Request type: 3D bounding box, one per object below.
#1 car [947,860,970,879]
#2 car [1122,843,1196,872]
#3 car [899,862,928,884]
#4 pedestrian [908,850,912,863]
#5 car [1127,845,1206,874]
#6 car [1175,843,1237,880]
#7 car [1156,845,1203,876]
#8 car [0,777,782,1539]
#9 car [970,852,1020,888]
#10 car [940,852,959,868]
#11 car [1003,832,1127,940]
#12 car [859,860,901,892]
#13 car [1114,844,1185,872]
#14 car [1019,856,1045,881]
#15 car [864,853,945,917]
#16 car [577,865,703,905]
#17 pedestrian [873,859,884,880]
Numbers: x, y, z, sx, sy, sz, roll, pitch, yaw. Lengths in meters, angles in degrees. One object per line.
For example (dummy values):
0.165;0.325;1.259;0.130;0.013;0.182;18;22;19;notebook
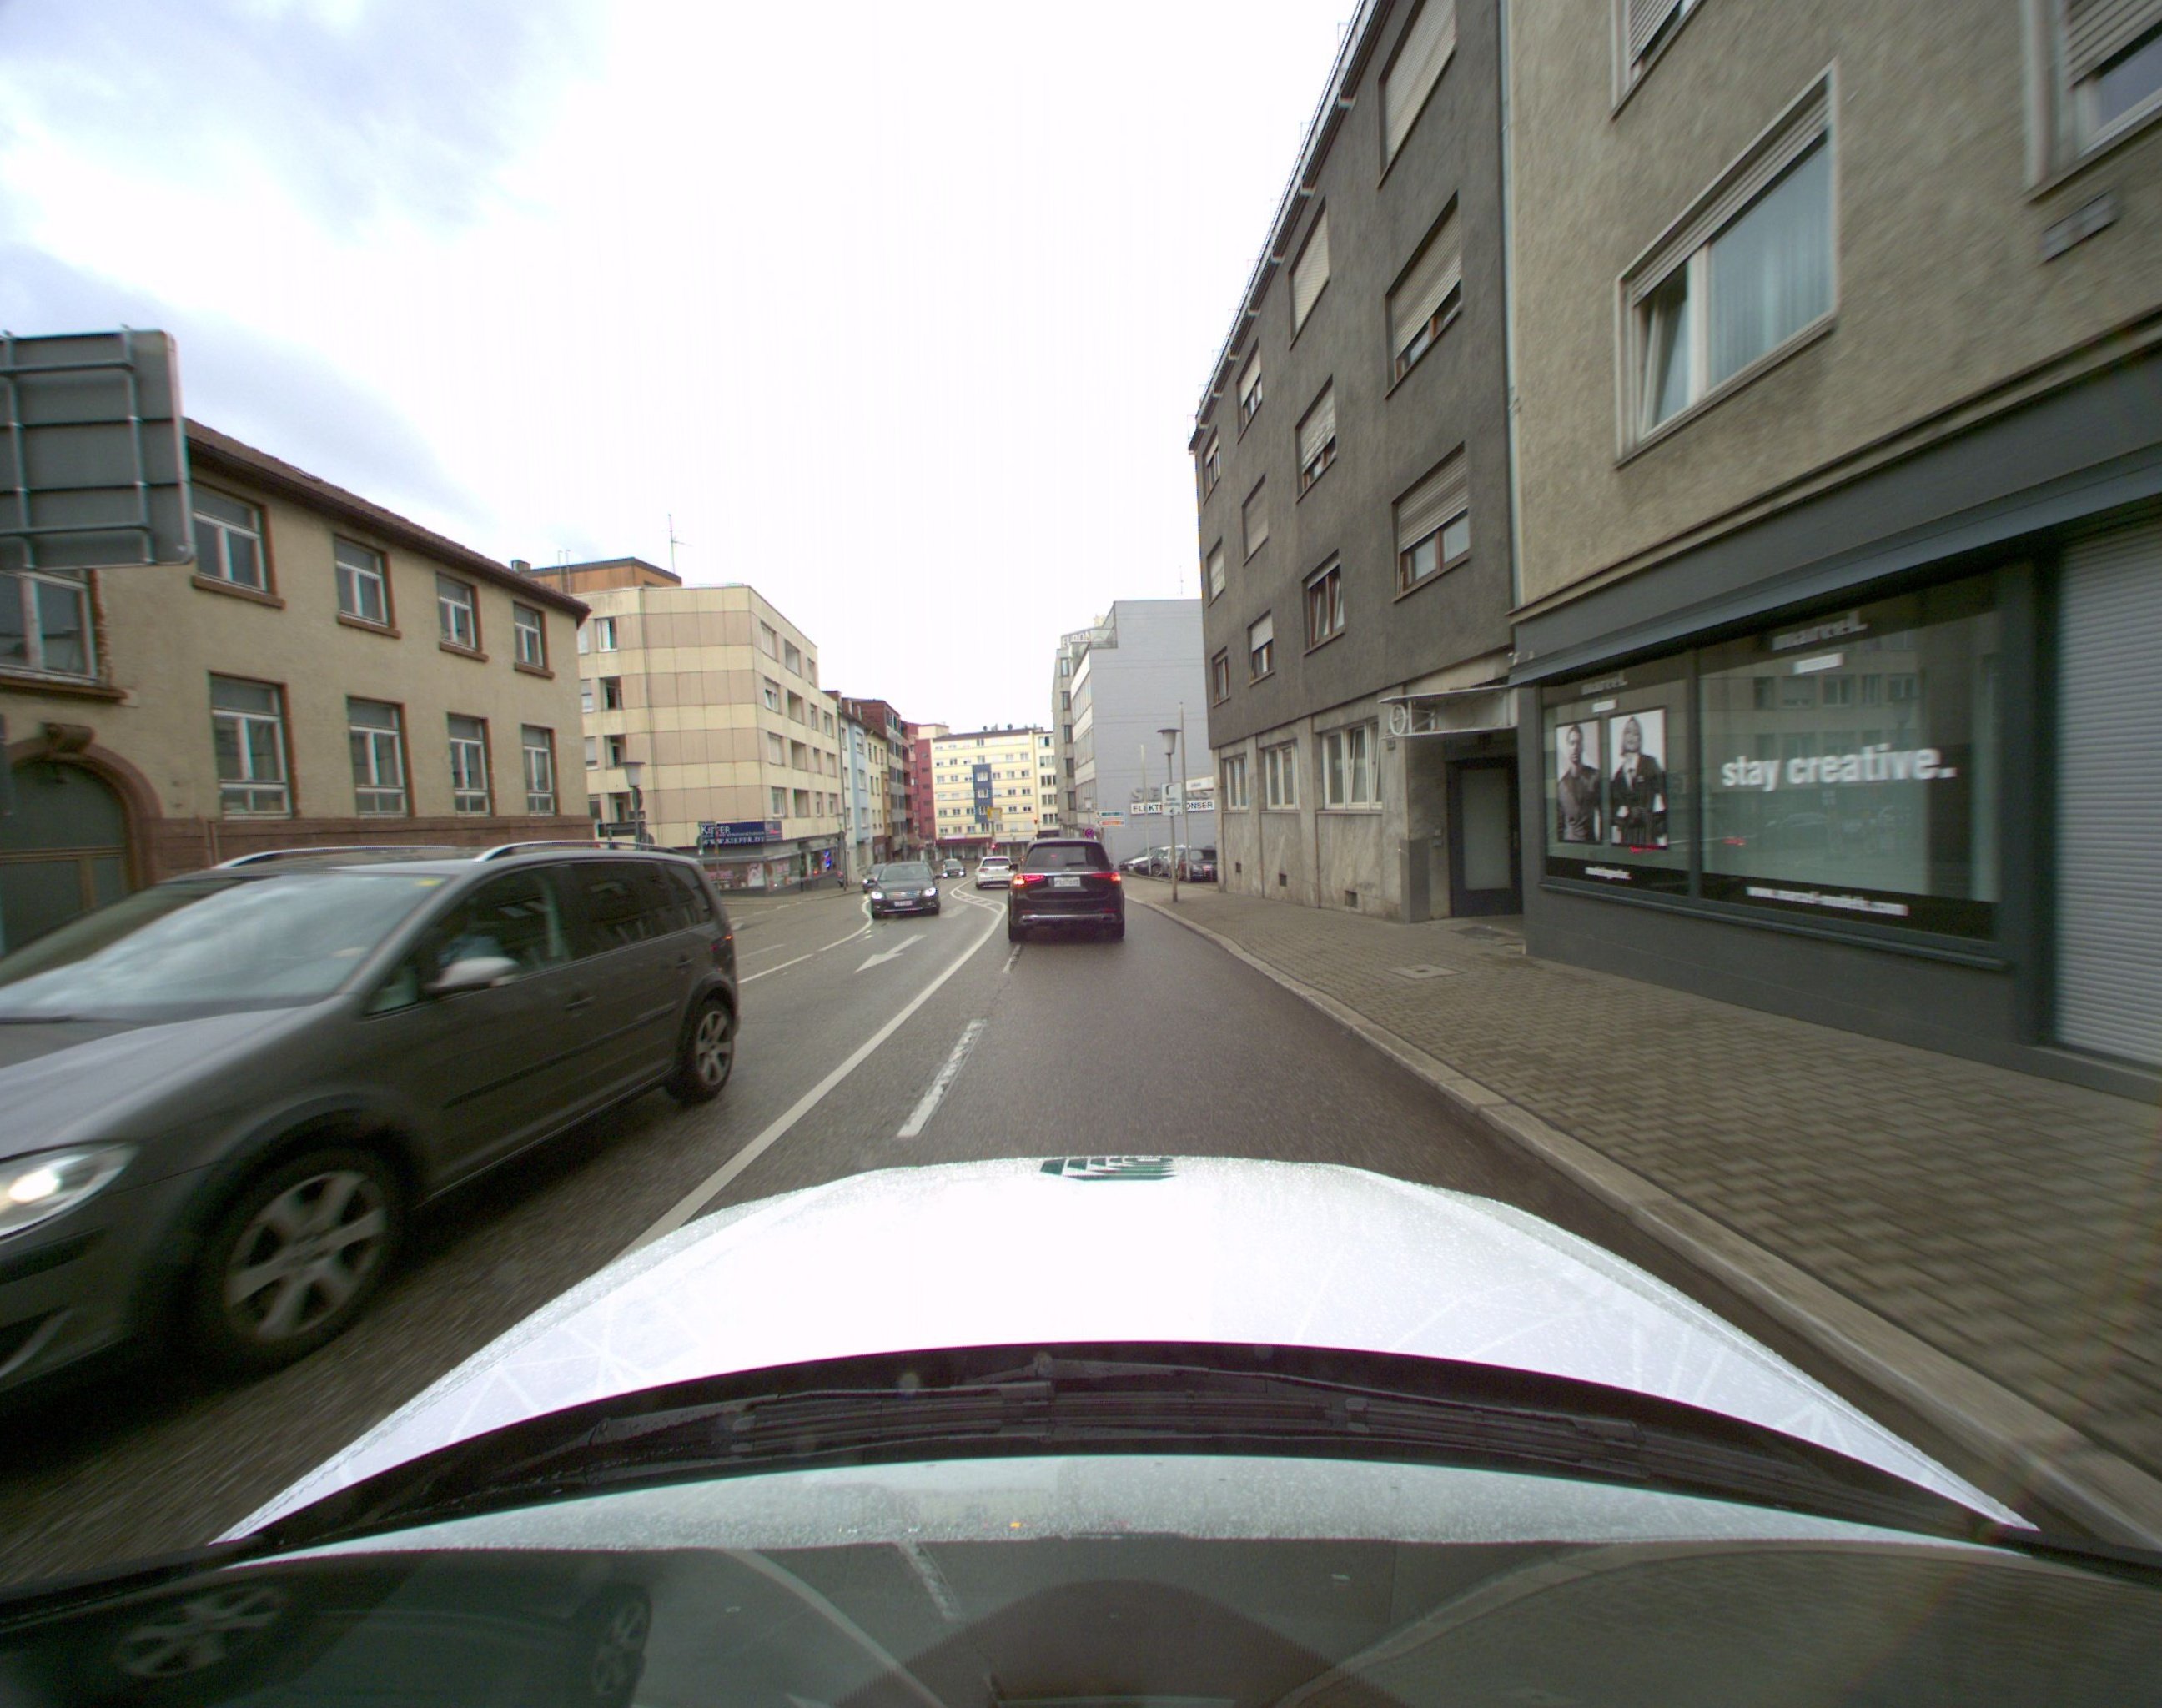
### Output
-10.026;1.228;66.257;1.715;1.317;4.130;-3;1;-10;car
4.592;0.230;47.936;4.005;1.597;1.785;-1;-1;-24;car
-13.393;1.495;65.204;1.743;1.539;4.632;-5;0;-6;car
-19.967;0.256;95.275;0.317;1.474;0.339;-2;4;0;pedestrian
4.768;0.330;45.424;4.005;1.494;1.719;-1;-1;-24;car
5.397;0.312;35.757;1.793;1.477;4.480;-1;0;-3;car
4.919;0.308;41.298;1.563;1.477;4.063;-1;0;-5;car
-3.281;0.700;4.058;1.800;1.705;4.562;-1;0;1;car
-4.036;0.691;37.664;1.831;1.461;4.362;-4;0;-11;car
-15.845;0.720;98.628;1.867;1.752;4.390;-5;1;-6;car
-0.361;0.518;15.728;2.016;1.739;4.742;-1;0;-3;car
-11.144;1.212;45.351;1.714;1.586;4.131;-5;0;-9;car
4.249;0.238;50.527;4.005;1.597;1.785;-1;-1;-24;car
-3.354;0.936;55.055;1.521;1.548;3.100;-2;1;-7;car
-4.857;0.819;22.933;1.722;1.516;4.358;-4;0;-7;car
-18.476;1.299;34.227;4.311;1.512;1.901;-2;0;6;car
-17.230;1.305;69.247;0.739;1.652;0.604;-3;4;-8;pedestrian
